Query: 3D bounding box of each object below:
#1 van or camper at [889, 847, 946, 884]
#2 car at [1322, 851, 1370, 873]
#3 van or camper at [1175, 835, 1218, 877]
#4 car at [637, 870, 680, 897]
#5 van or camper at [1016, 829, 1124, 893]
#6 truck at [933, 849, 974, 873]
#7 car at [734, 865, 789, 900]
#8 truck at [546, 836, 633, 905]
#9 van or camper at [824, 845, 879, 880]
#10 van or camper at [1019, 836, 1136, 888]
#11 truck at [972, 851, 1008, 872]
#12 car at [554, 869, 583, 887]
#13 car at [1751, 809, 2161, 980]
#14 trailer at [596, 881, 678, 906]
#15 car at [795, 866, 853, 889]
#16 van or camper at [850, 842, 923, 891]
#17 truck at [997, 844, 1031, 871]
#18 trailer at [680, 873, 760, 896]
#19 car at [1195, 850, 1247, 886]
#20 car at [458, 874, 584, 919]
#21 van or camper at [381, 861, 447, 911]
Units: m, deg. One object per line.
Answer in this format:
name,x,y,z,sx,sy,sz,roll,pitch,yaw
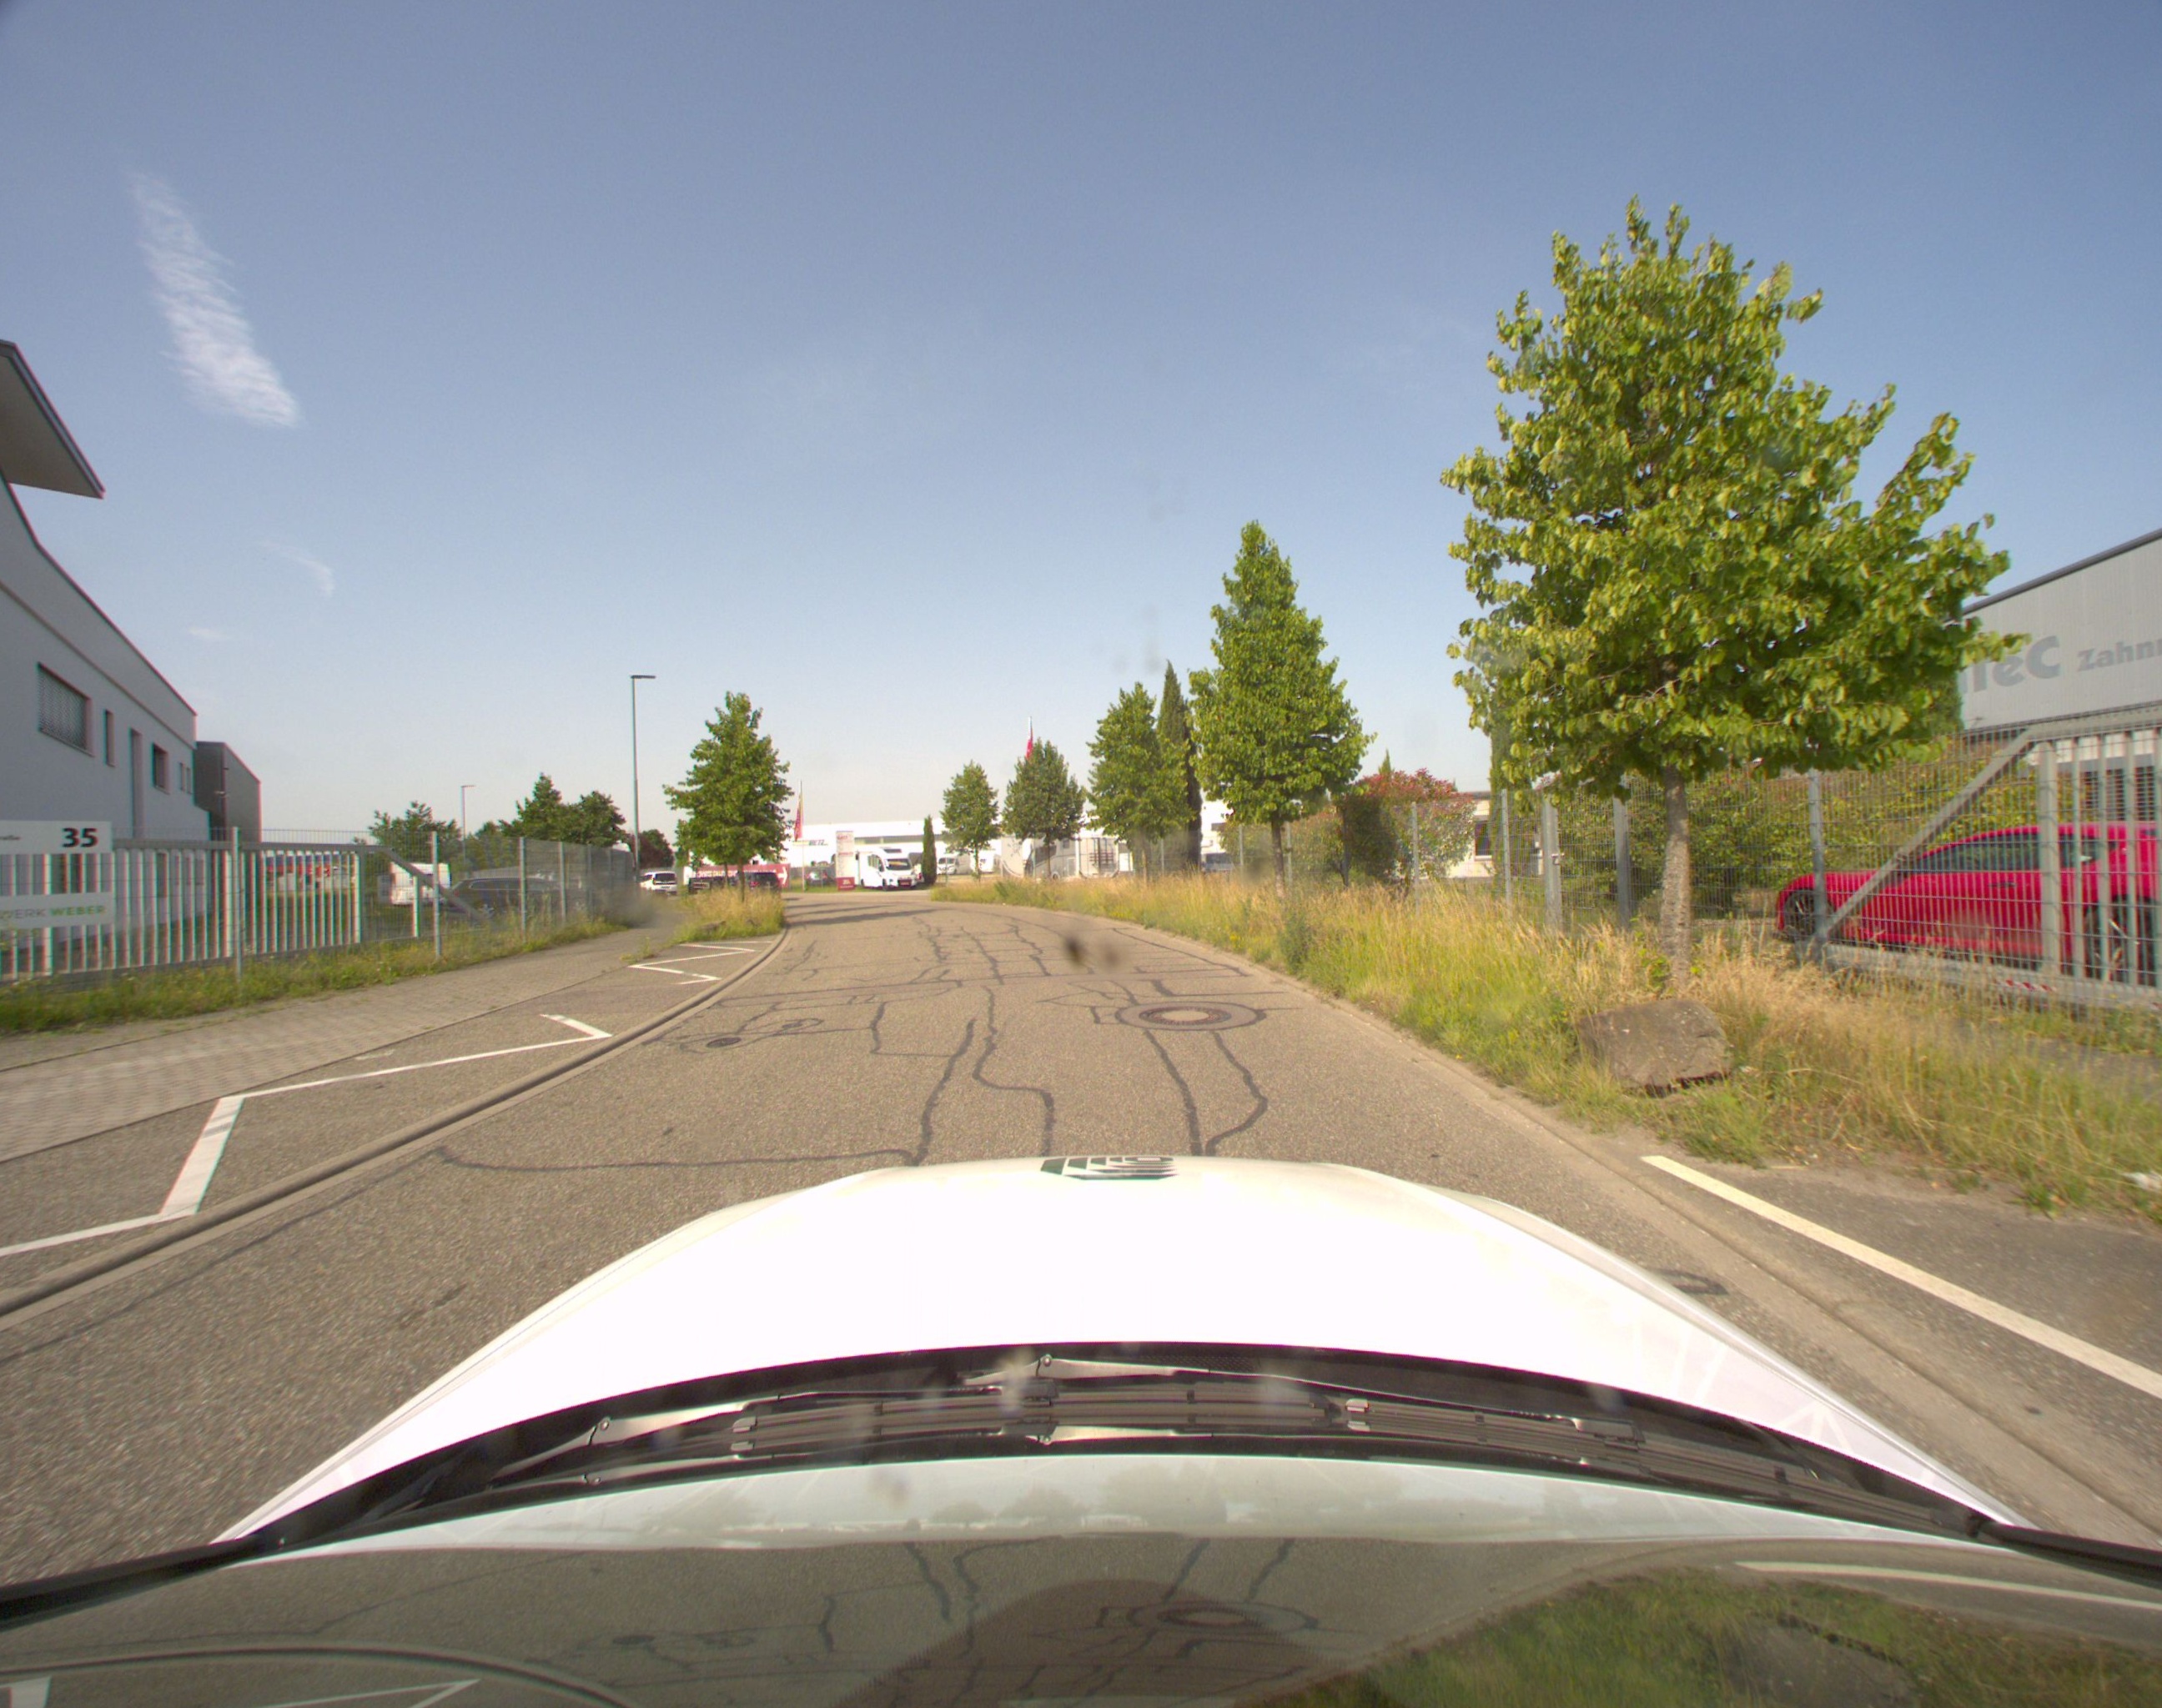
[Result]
van or camper,-12.270,0.817,61.606,2.472,2.558,6.633,-2,0,4
car,17.117,0.505,52.744,1.706,1.379,3.996,0,0,-2
van or camper,8.394,0.185,59.814,2.312,2.864,6.612,-2,-1,2
car,-31.839,2.213,61.297,2.010,1.899,4.415,-2,0,-39
van or camper,-0.727,0.383,40.751,2.362,2.848,7.276,-1,-1,-27
truck,-13.818,0.712,88.948,2.439,2.471,8.012,-2,0,5
car,-18.225,1.627,46.368,2.008,1.805,3.957,-1,-1,-35
truck,-31.657,1.121,52.108,2.648,3.929,12.765,-1,-1,-40
van or camper,-21.557,0.759,76.910,2.649,3.084,6.806,-2,0,6
van or camper,-0.264,0.496,52.359,7.241,3.032,2.583,-2,-1,-3
truck,-10.101,0.787,91.405,2.439,2.265,8.012,-2,0,5
car,-55.562,2.605,88.252,2.011,1.772,3.951,-2,-1,-42
car,9.531,0.286,8.057,1.874,1.358,4.773,-2,0,0
trailer,-23.516,2.059,43.039,2.597,1.100,5.138,-2,0,-43
car,-19.403,1.763,61.649,2.148,1.476,4.020,-2,0,19
van or camper,-12.950,0.833,53.737,2.348,2.943,6.897,-2,0,-34
truck,-7.427,0.330,91.205,2.439,2.826,8.012,-2,0,5
trailer,-27.087,2.280,60.769,2.647,1.388,9.340,-5,2,-42
car,6.654,0.628,39.099,1.718,1.643,3.997,-1,0,-2
car,-20.116,1.487,29.317,3.524,1.454,1.577,-1,-1,-44
van or camper,-36.985,1.770,45.116,2.326,2.560,4.892,-2,0,-45
